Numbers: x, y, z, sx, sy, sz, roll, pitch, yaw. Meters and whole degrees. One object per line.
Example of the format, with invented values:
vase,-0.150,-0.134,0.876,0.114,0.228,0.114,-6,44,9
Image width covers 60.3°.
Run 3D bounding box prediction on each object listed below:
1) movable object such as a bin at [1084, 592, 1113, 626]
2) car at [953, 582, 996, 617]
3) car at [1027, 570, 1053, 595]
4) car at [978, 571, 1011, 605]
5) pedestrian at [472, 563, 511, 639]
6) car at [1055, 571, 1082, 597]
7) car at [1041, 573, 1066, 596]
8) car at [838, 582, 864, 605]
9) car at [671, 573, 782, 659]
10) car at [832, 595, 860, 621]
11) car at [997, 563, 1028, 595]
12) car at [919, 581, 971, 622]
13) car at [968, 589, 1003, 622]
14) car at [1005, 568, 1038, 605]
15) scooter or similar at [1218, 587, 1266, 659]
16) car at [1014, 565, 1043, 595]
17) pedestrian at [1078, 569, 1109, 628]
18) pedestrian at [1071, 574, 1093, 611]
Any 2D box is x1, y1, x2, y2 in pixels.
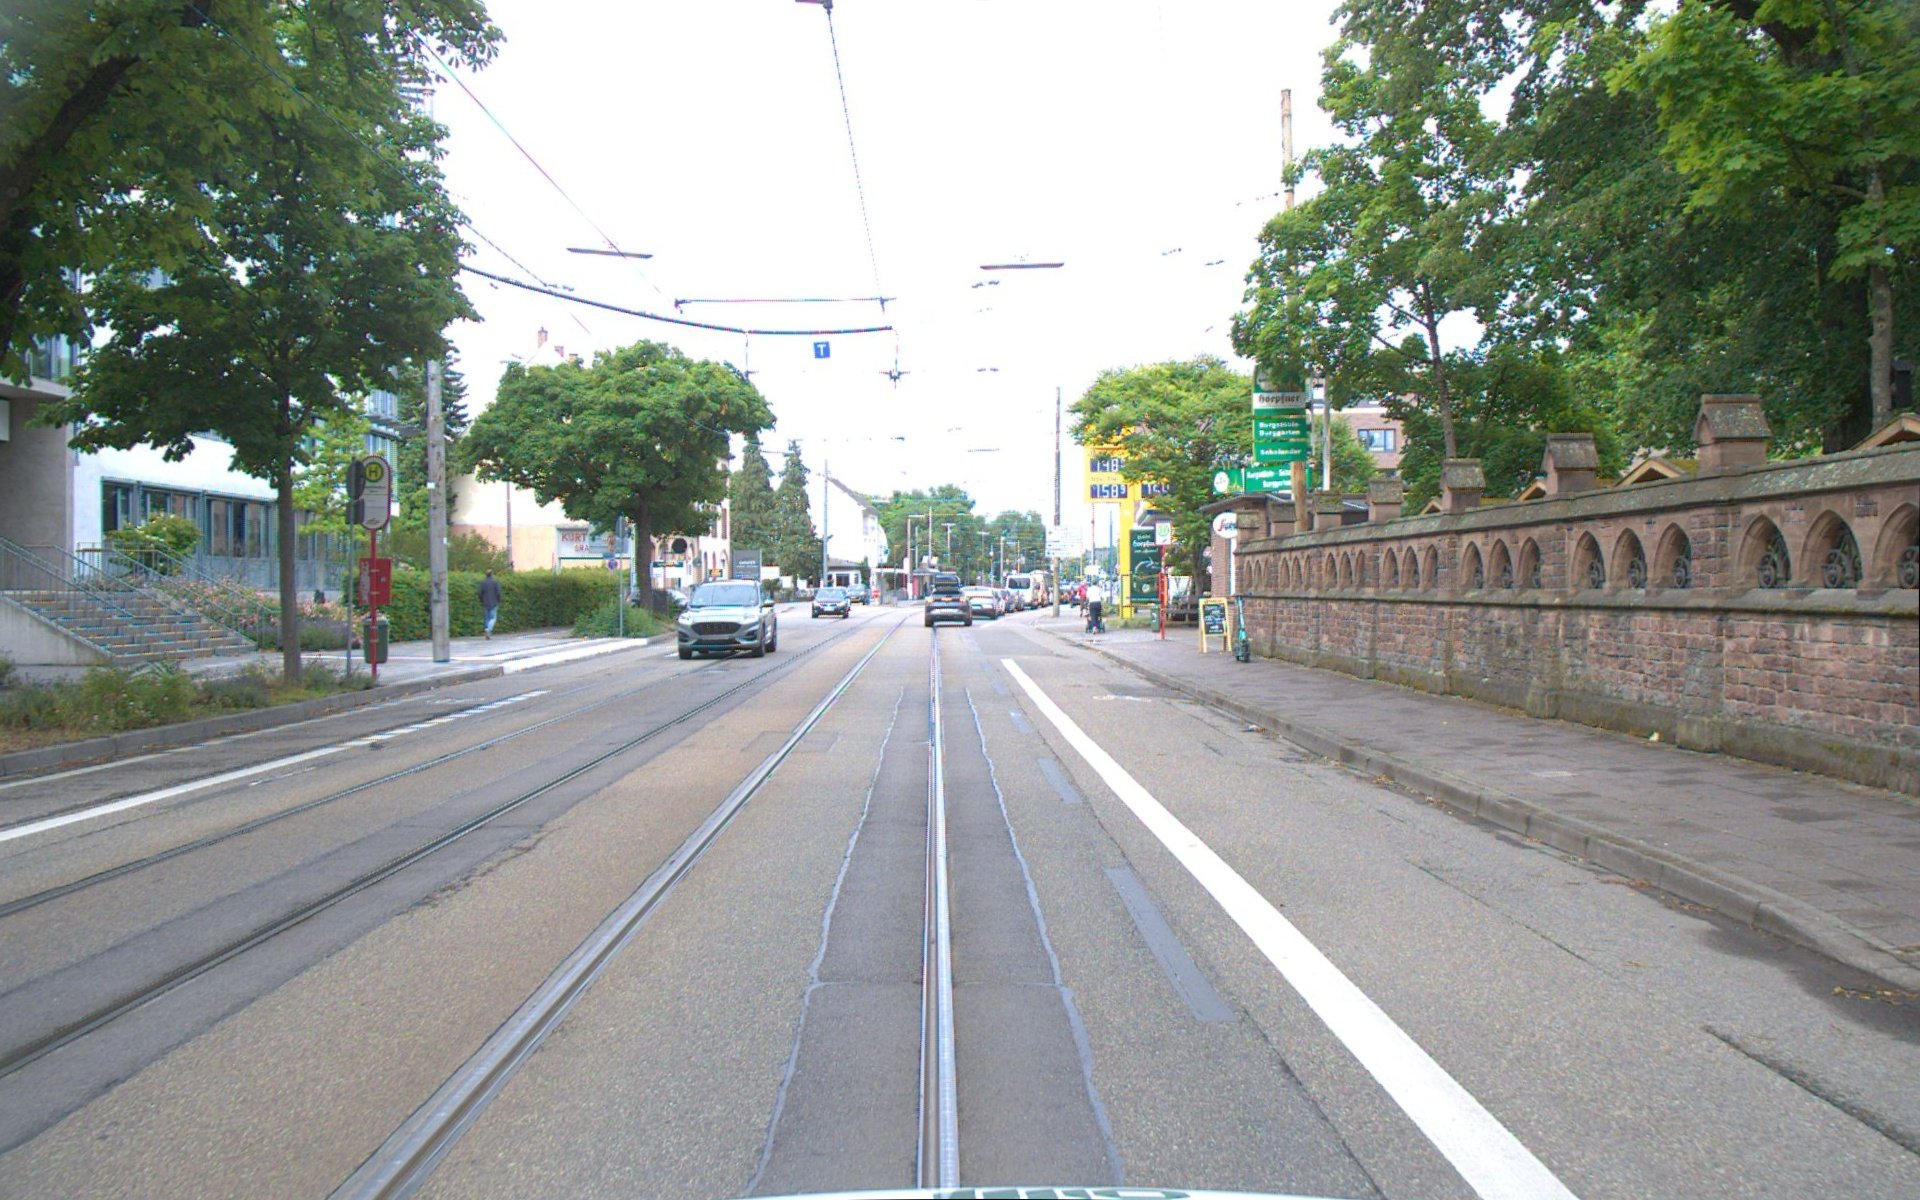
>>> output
movable object such as a bin,4.517,0.291,53.782,0.751,1.057,1.025,-3,0,13
car,0.675,-0.037,79.183,1.941,1.577,4.183,1,1,-1
car,6.791,-1.472,140.770,1.953,2.049,3.999,1,0,-1
car,2.141,-0.718,100.800,1.952,2.049,4.001,1,0,1
pedestrian,-12.746,0.027,45.016,0.695,2.049,0.991,1,0,6
car,8.039,-1.192,122.862,1.835,1.855,4.097,1,0,2
car,8.621,-1.409,152.413,1.953,2.049,3.999,1,0,-1
car,-8.773,-0.518,133.313,1.790,1.768,4.335,-1,0,0
car,-5.110,0.295,36.716,1.805,1.683,4.389,-3,1,-1
car,-7.291,0.499,105.926,1.669,1.556,3.741,0,0,-2
car,3.431,-1.340,107.209,1.952,2.049,4.001,1,0,3
car,-0.600,0.058,64.696,1.949,1.523,4.325,1,0,-1
car,1.423,0.290,92.368,1.928,1.787,3.838,1,0,1
car,4.252,-0.931,114.887,2.170,2.465,4.952,1,0,2
scooter or similar,5.220,0.404,30.687,0.565,1.260,1.410,-4,1,0
car,5.134,-1.490,124.165,2.095,2.183,4.745,1,0,2
pedestrian,4.260,-0.067,52.769,0.751,1.828,1.163,-3,0,13
pedestrian,5.911,-0.361,80.013,0.951,1.768,0.861,-3,0,2
